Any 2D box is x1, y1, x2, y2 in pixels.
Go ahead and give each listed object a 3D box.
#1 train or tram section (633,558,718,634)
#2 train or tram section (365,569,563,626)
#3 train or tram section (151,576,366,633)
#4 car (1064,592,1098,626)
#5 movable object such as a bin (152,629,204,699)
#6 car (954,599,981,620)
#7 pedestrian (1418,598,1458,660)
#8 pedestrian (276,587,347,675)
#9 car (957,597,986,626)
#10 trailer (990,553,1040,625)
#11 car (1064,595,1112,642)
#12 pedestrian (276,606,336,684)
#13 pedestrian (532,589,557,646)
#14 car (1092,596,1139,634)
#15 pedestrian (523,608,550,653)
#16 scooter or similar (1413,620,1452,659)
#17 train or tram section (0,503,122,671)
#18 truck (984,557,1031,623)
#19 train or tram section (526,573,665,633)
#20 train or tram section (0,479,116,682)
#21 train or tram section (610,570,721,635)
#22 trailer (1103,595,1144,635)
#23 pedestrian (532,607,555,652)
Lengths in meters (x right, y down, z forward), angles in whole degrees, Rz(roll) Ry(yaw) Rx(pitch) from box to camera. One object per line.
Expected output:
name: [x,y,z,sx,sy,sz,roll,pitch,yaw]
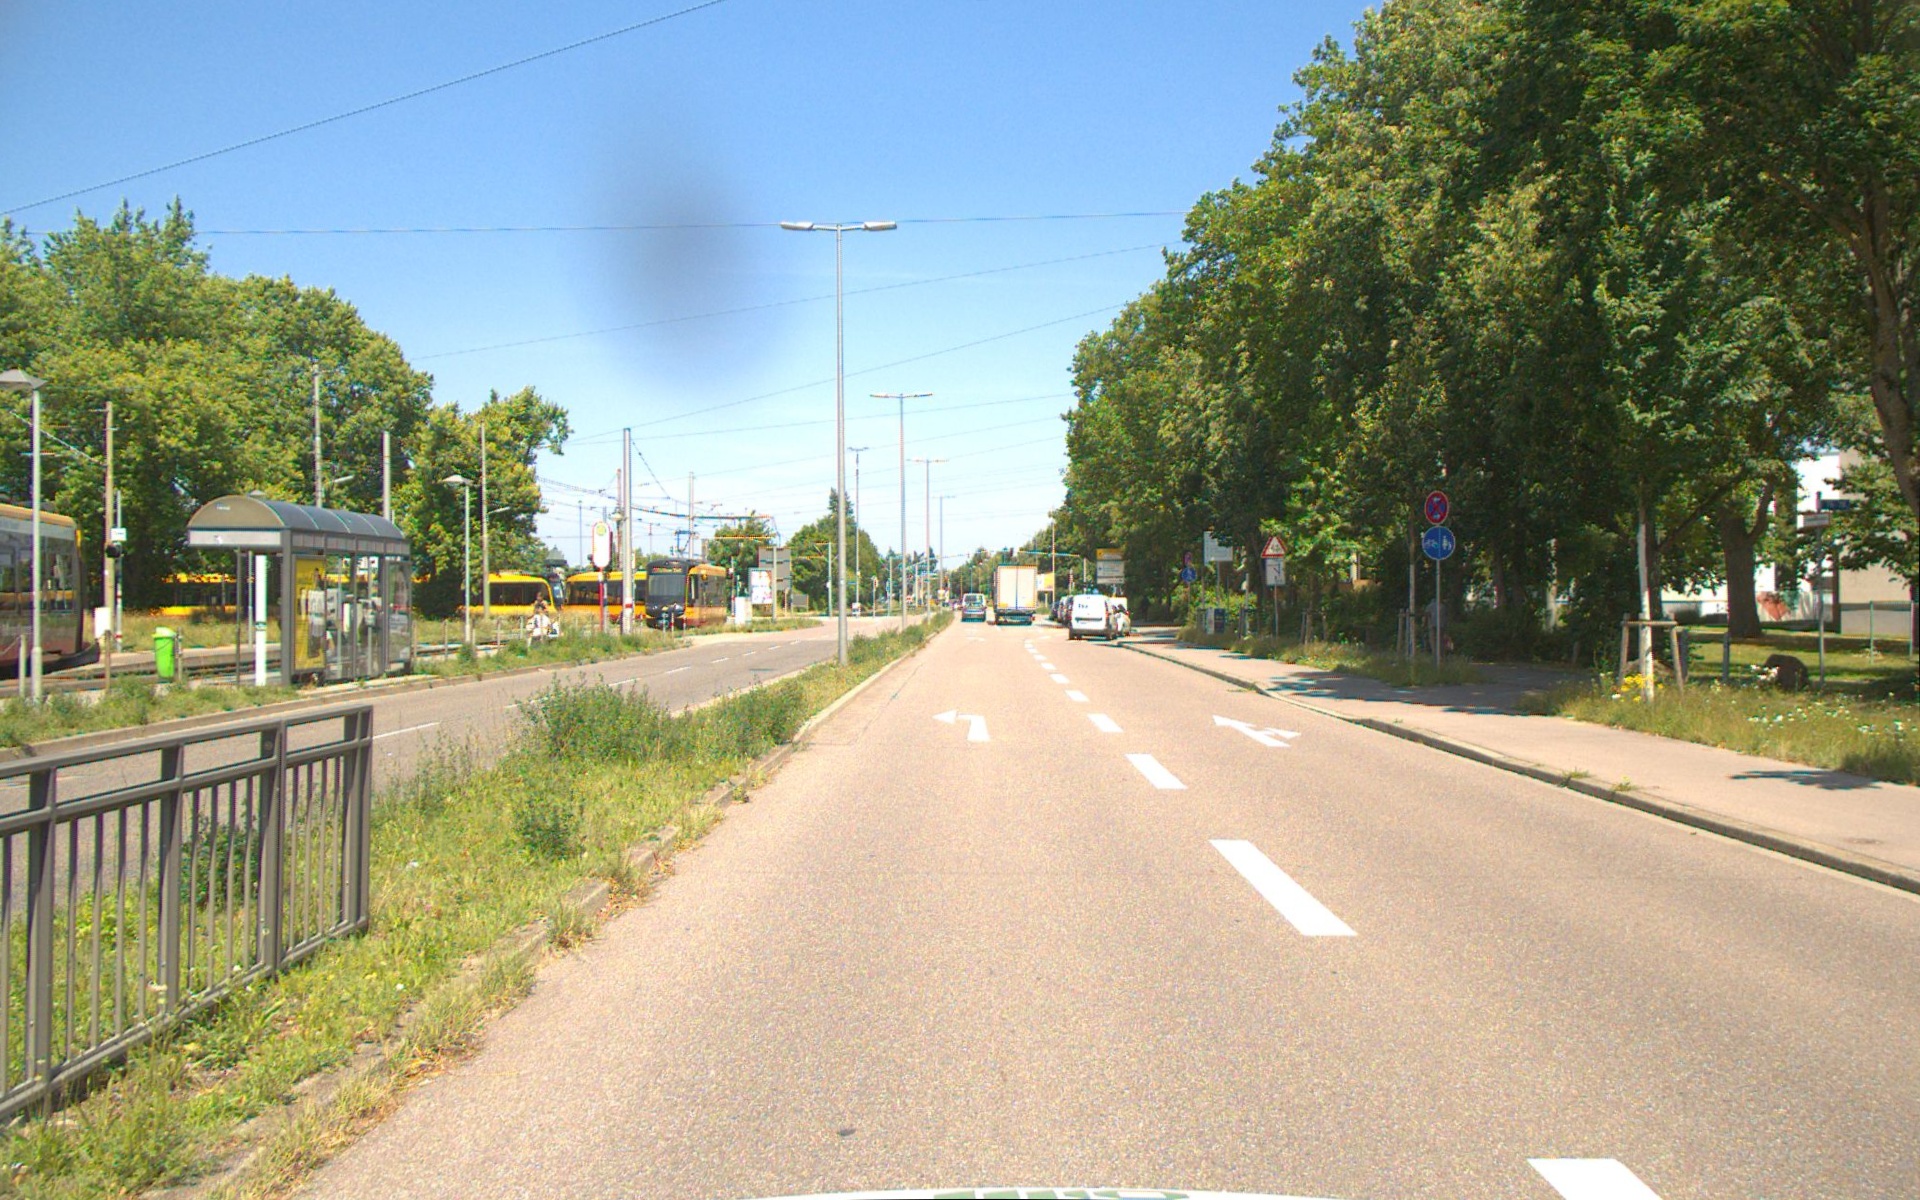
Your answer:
train or tram section: [-14.388,-0.194,84.594,2.977,3.526,13.280,1,0,-4]
train or tram section: [-33.516,-0.147,112.063,12.443,3.526,3.047,1,0,3]
train or tram section: [-46.852,0.334,111.003,13.028,3.526,3.028,1,0,-21]
car: [8.023,0.593,110.088,1.852,2.158,3.886,1,0,-1]
movable object such as a bin: [-11.304,0.919,23.915,0.472,0.995,0.644,0,0,-4]
car: [0.497,0.702,119.371,1.854,1.396,4.429,2,-2,0]
pedestrian: [11.209,0.677,38.793,0.693,1.422,0.763,1,0,1]
pedestrian: [-11.954,0.565,30.518,0.912,1.573,0.985,1,0,-2]
car: [0.885,0.846,126.524,1.953,2.148,4.745,0,1,-3]
trailer: [3.562,-0.704,108.533,2.770,4.499,8.747,1,0,-1]
car: [5.153,0.721,66.950,1.674,1.778,4.428,1,0,1]
pedestrian: [-11.175,0.761,28.289,0.687,1.306,0.840,1,0,-2]
pedestrian: [-11.678,0.487,46.503,0.524,1.593,0.582,1,0,-1]
car: [7.189,0.665,76.915,1.665,1.683,4.398,1,0,-1]
pedestrian: [-11.538,0.832,45.076,0.569,1.210,0.536,1,0,1]
scooter or similar: [11.226,0.934,39.324,0.693,0.909,0.763,1,0,1]
train or tram section: [-23.228,-0.342,42.342,3.007,3.688,12.344,1,0,-27]
truck: [3.314,-0.744,117.105,2.770,4.420,8.282,2,1,-2]
train or tram section: [-23.347,0.119,105.274,3.019,3.526,12.561,1,0,-41]
train or tram section: [-19.292,-0.391,31.295,2.992,3.688,12.408,1,0,-14]
train or tram section: [-17.130,0.097,95.610,3.004,3.526,10.121,1,0,-30]
trailer: [7.230,0.644,73.271,1.439,1.698,2.855,1,0,-1]
pedestrian: [-11.466,0.807,45.565,0.484,1.210,0.401,1,0,2]
